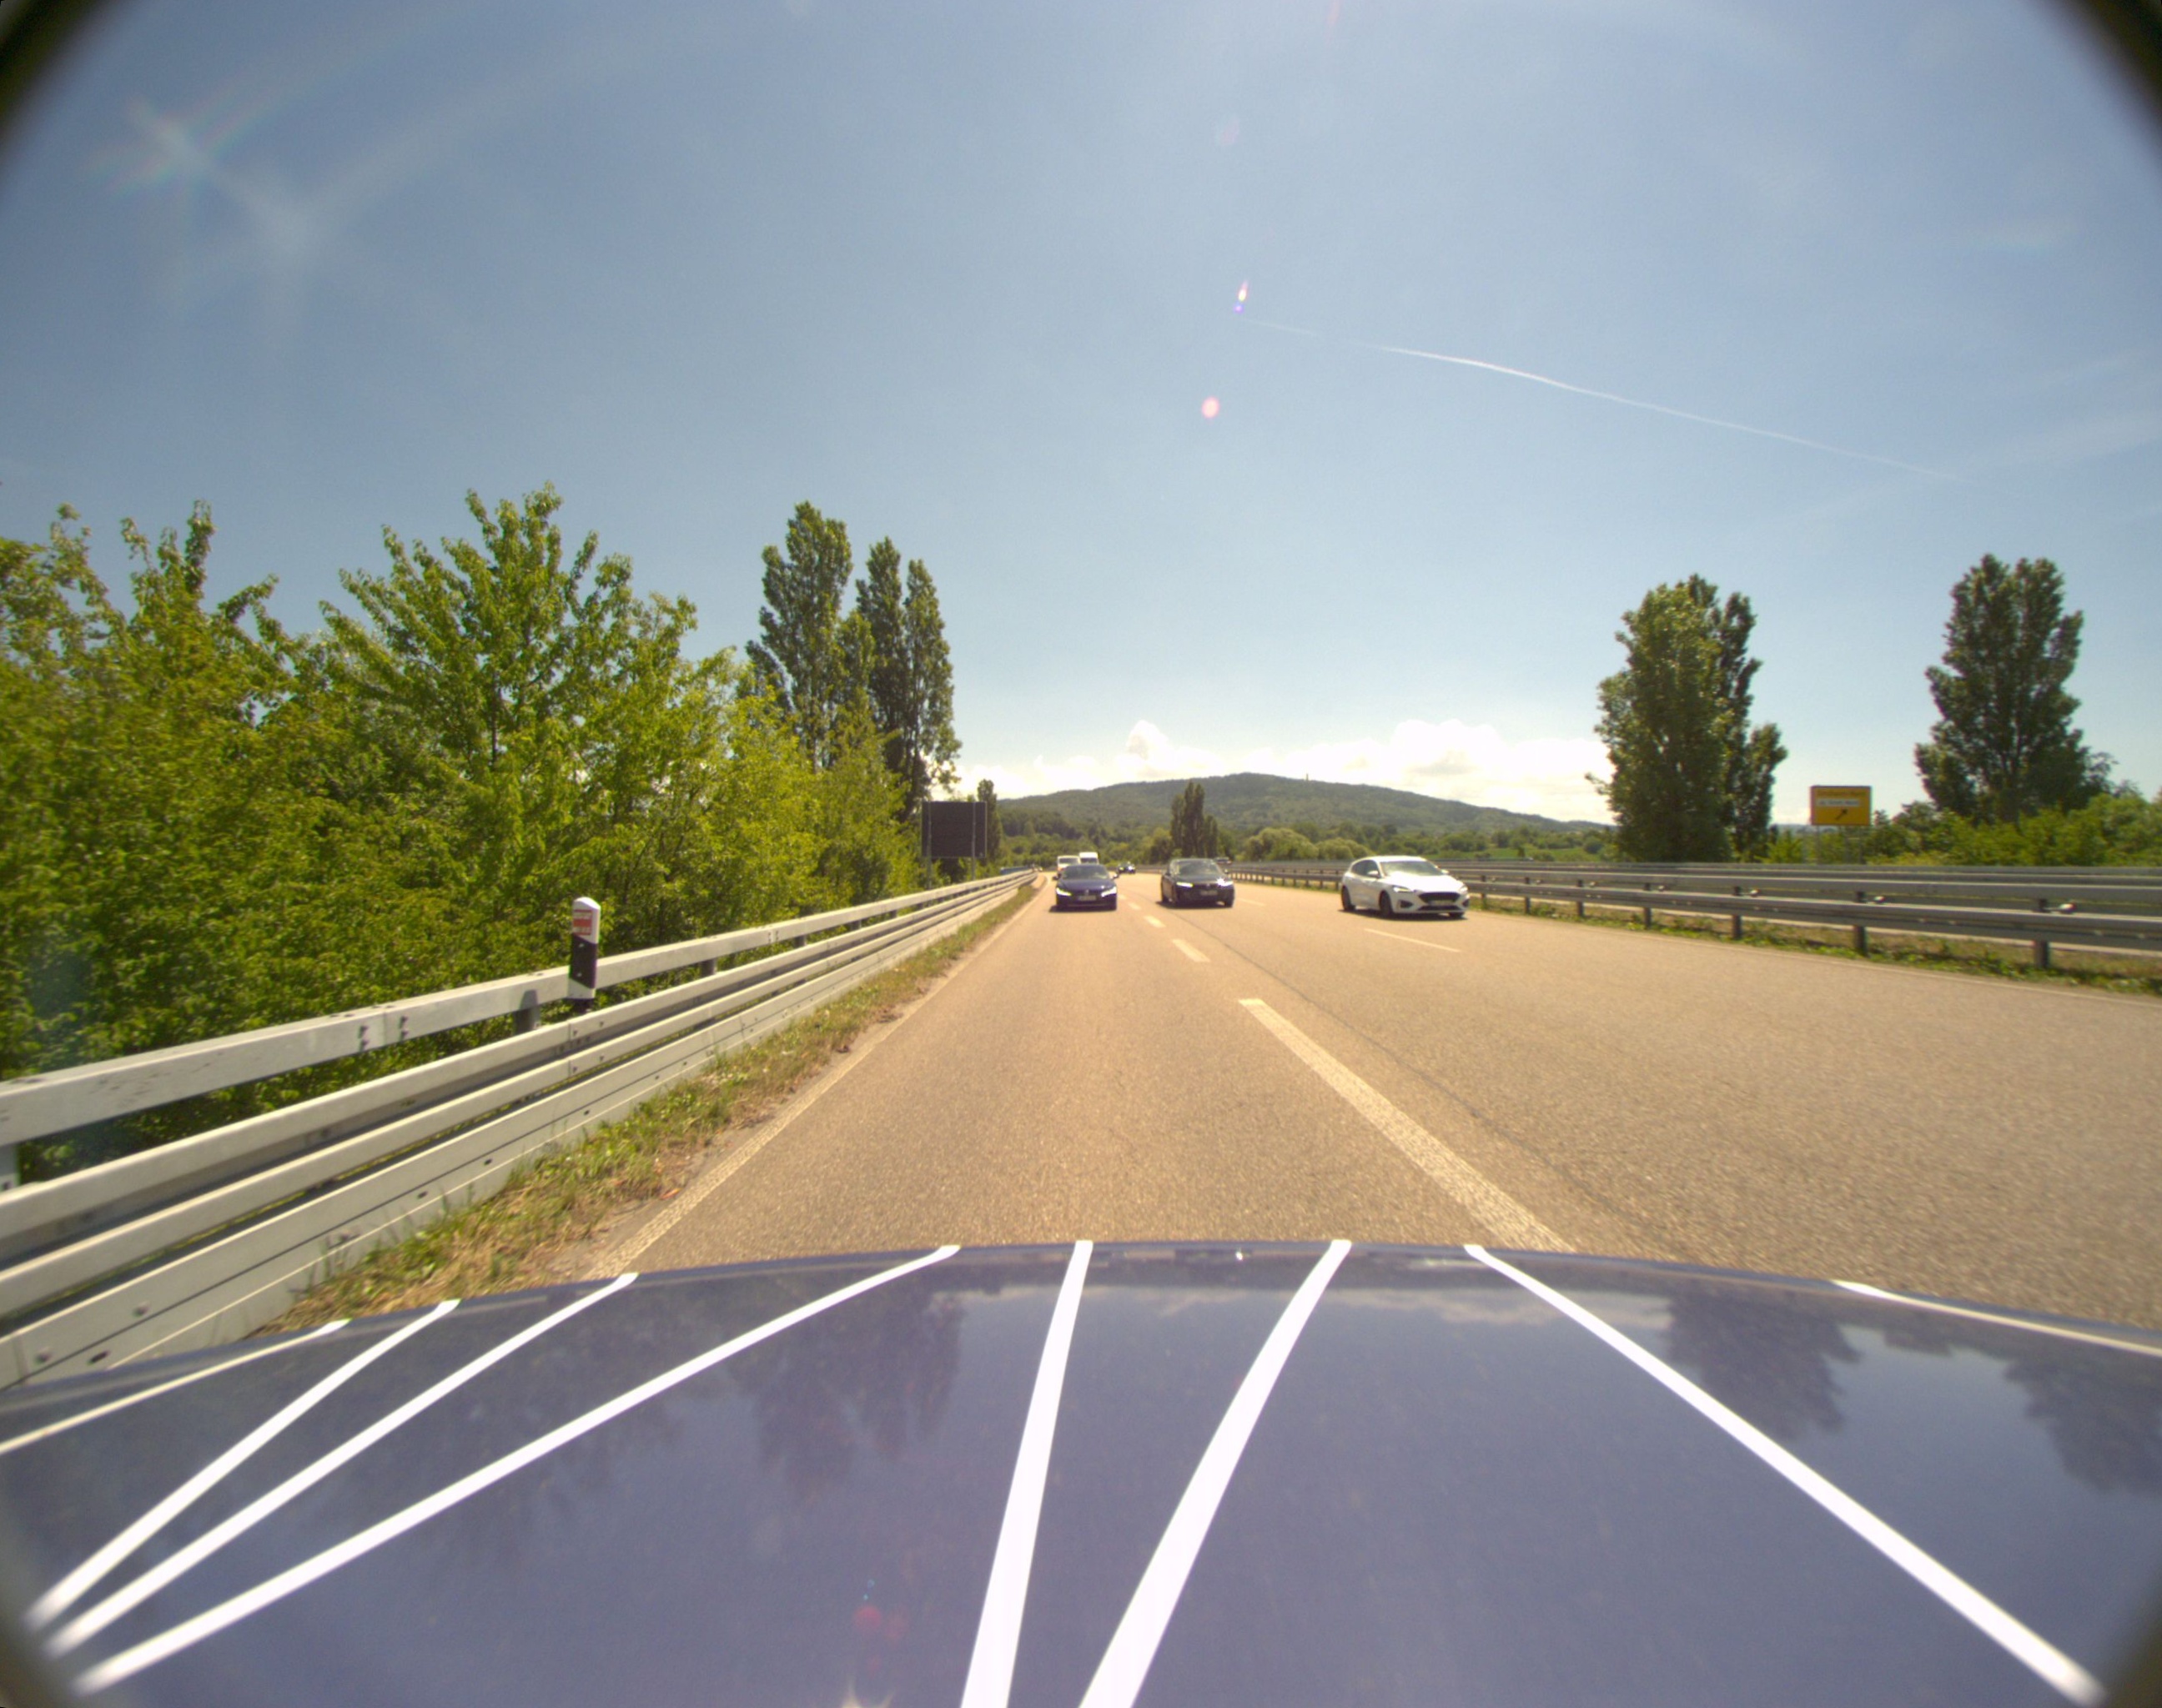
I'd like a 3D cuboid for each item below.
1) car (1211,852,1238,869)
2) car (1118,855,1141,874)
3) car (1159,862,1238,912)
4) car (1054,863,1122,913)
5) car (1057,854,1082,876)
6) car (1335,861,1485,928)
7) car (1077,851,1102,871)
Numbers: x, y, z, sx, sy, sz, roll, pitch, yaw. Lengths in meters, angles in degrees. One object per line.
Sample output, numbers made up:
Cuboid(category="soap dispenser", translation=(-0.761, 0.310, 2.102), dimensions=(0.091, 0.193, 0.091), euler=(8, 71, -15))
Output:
Cuboid(category="car", translation=(13.928, 0.589, 73.865), dimensions=(1.830, 1.638, 4.188), euler=(0, 0, 0))
Cuboid(category="car", translation=(5.431, 1.143, 85.353), dimensions=(2.009, 1.987, 4.578), euler=(-1, 0, -2))
Cuboid(category="car", translation=(3.693, 1.001, 24.599), dimensions=(1.846, 1.399, 4.470), euler=(-1, 0, 0))
Cuboid(category="car", translation=(0.126, 1.035, 24.393), dimensions=(1.846, 1.399, 4.469), euler=(-2, -1, -4))
Cuboid(category="car", translation=(-0.986, 0.861, 62.705), dimensions=(1.885, 1.723, 4.468), euler=(-1, 0, -3))
Cuboid(category="car", translation=(7.977, 0.904, 18.952), dimensions=(1.846, 1.399, 4.470), euler=(-1, 0, 1))
Cuboid(category="car", translation=(0.873, 0.760, 80.637), dimensions=(2.009, 1.987, 4.576), euler=(-1, 0, -6))
